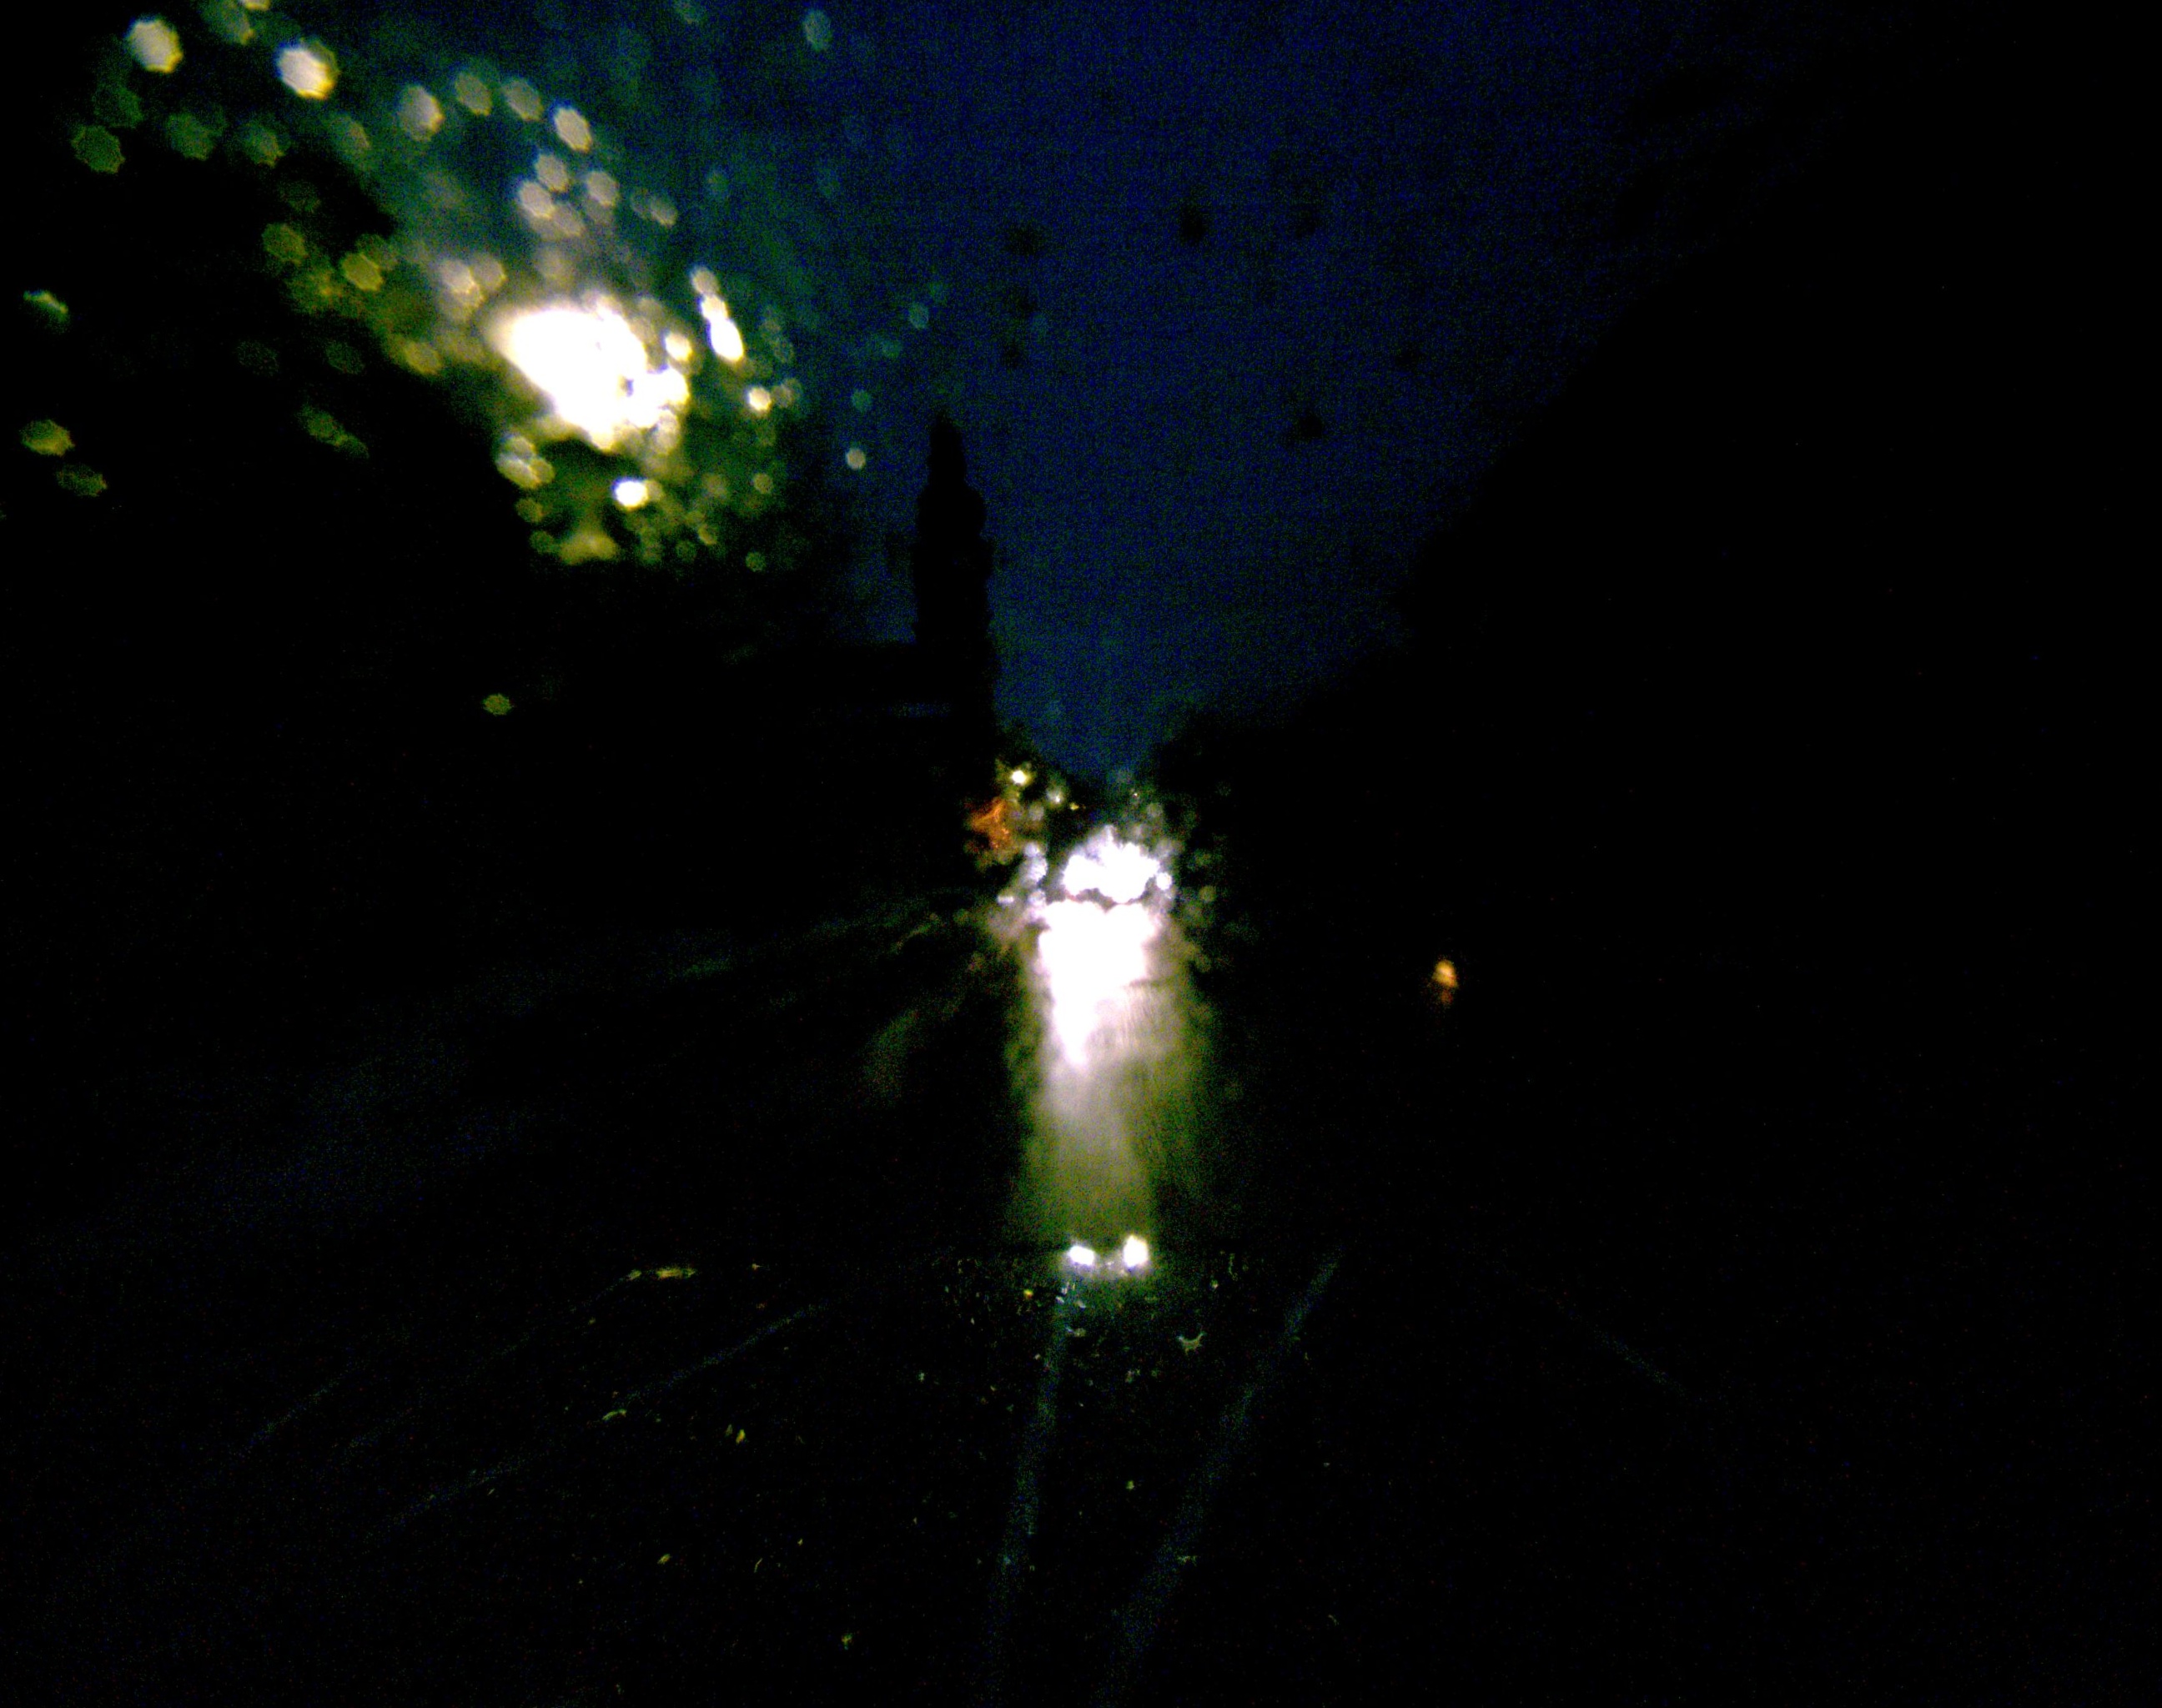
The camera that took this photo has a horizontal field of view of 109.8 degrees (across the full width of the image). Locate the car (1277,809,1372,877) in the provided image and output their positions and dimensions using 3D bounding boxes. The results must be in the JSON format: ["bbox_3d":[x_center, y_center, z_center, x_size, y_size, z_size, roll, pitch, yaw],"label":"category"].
[{"bbox_3d":[8.504,-0.413,26.940,1.998,2.025,4.081,-6,1,2],"label":"car"}]

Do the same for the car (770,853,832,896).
[{"bbox_3d":[-11.018,0.741,29.740,1.758,1.405,4.071,-2,3,-27],"label":"car"}]

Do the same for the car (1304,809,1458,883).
[{"bbox_3d":[9.088,-0.265,23.243,3.997,2.002,1.757,-3,2,1],"label":"car"}]

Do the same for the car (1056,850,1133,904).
[{"bbox_3d":[0.276,0.580,22.213,1.999,1.373,4.932,-1,0,-2],"label":"car"}]
